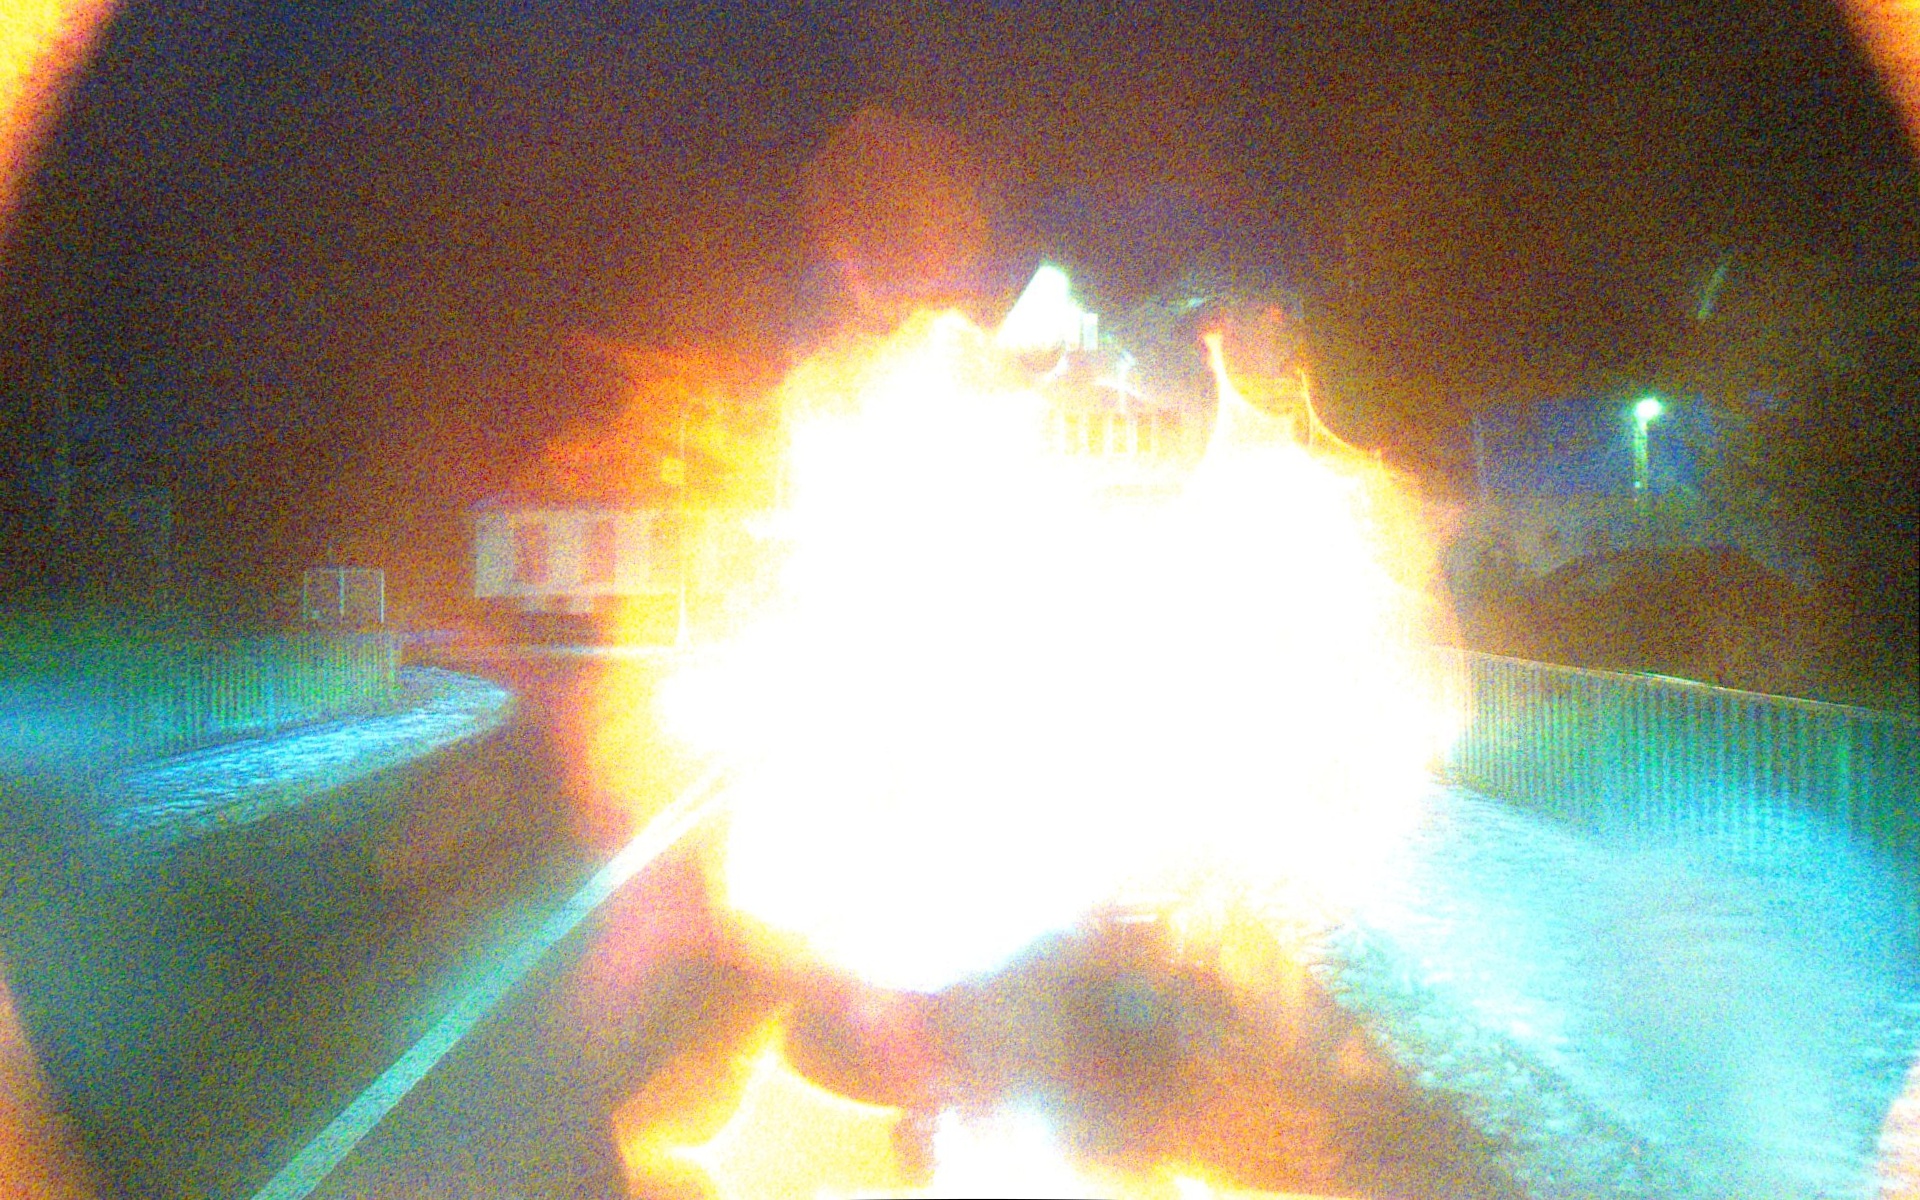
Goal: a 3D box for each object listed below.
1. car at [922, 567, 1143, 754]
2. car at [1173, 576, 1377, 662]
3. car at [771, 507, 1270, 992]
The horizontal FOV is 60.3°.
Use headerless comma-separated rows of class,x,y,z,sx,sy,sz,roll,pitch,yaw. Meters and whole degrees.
car,0.658,0.444,14.937,1.707,1.440,4.002,-1,1,3
car,7.462,0.476,39.179,4.586,1.824,2.001,-2,-2,12
car,0.234,0.485,7.784,1.754,1.710,3.905,0,1,0
